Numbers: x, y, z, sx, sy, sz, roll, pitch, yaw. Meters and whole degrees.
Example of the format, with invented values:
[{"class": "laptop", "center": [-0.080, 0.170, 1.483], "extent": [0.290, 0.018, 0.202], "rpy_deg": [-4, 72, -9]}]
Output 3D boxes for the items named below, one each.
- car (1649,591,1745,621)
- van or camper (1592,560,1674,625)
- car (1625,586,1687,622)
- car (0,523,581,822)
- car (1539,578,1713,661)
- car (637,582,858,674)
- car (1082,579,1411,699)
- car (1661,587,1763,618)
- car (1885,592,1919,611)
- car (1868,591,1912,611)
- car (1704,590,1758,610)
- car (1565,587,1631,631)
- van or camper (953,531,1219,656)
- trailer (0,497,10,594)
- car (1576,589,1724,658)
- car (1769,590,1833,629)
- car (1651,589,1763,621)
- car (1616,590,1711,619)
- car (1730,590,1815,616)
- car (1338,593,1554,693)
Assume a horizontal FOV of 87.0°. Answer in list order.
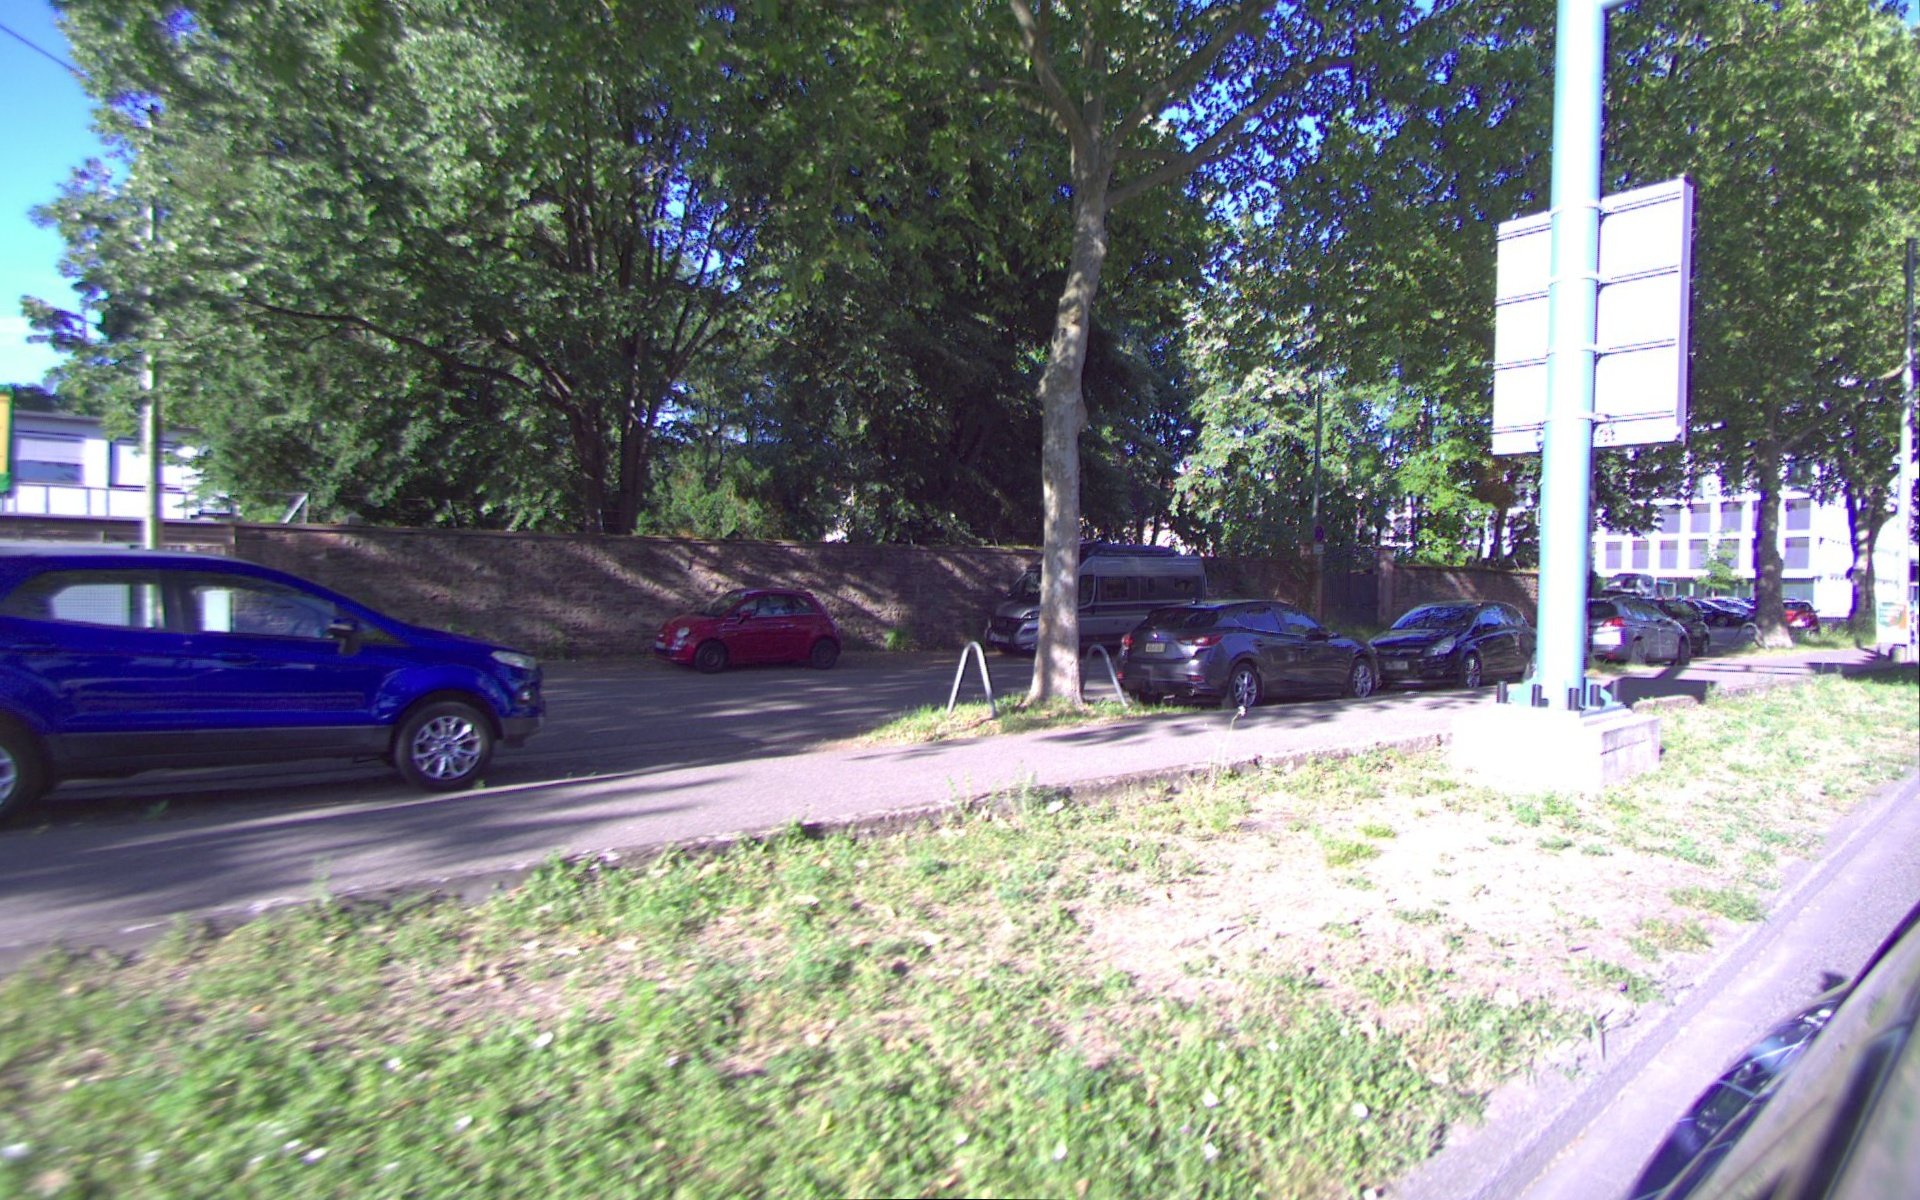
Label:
[{"class": "car", "center": [40.956, 0.318, 56.348], "extent": [1.590, 1.409, 4.000], "rpy_deg": [0, 3, -37]}, {"class": "van or camper", "center": [31.036, -0.369, 46.609], "extent": [4.882, 2.764, 1.996], "rpy_deg": [-1, 4, -44]}, {"class": "car", "center": [34.689, 0.161, 50.427], "extent": [1.994, 1.593, 3.940], "rpy_deg": [5, 4, 42]}, {"class": "car", "center": [-5.073, 0.393, 6.990], "extent": [4.275, 1.663, 1.740], "rpy_deg": [-1, 0, -39]}, {"class": "car", "center": [13.919, 0.372, 21.094], "extent": [3.946, 1.580, 1.797], "rpy_deg": [-1, -2, -38]}, {"class": "car", "center": [-3.943, 0.451, 18.962], "extent": [3.686, 1.490, 1.697], "rpy_deg": [0, 3, -35]}, {"class": "car", "center": [4.042, 0.452, 13.948], "extent": [4.591, 1.399, 1.998], "rpy_deg": [0, -1, -37]}, {"class": "car", "center": [44.553, 0.117, 60.041], "extent": [1.963, 1.427, 4.396], "rpy_deg": [0, 5, -37]}, {"class": "car", "center": [84.002, 0.106, 90.119], "extent": [4.197, 1.504, 1.869], "rpy_deg": [-1, 4, -40]}, {"class": "car", "center": [80.015, 0.086, 87.074], "extent": [4.322, 1.504, 2.000], "rpy_deg": [-1, 4, -38]}, {"class": "car", "center": [61.456, 0.001, 80.680], "extent": [3.800, 1.555, 1.755], "rpy_deg": [-1, 0, -22]}, {"class": "car", "center": [27.062, 0.328, 42.904], "extent": [1.837, 1.637, 3.944], "rpy_deg": [6, 4, 38]}, {"class": "van or camper", "center": [3.224, -0.184, 24.999], "extent": [6.441, 2.717, 2.566], "rpy_deg": [0, 3, -36]}, {"class": "trailer", "center": [-35.097, -2.040, 34.539], "extent": [2.181, 3.609, 8.760], "rpy_deg": [0, 0, -32]}, {"class": "car", "center": [18.210, 0.559, 26.643], "extent": [4.540, 1.655, 1.798], "rpy_deg": [-1, 0, -36]}, {"class": "car", "center": [37.737, 0.416, 45.510], "extent": [1.989, 1.660, 3.947], "rpy_deg": [-1, 0, 37]}, {"class": "car", "center": [42.672, 0.236, 57.892], "extent": [1.964, 1.423, 4.733], "rpy_deg": [0, 5, -40]}, {"class": "car", "center": [38.560, 0.220, 55.544], "extent": [1.736, 1.523, 3.992], "rpy_deg": [0, 1, -43]}, {"class": "car", "center": [53.574, 0.158, 66.818], "extent": [1.685, 1.486, 4.090], "rpy_deg": [-1, 3, -39]}, {"class": "car", "center": [8.185, 0.636, 16.932], "extent": [3.814, 1.456, 1.797], "rpy_deg": [-1, 0, -39]}]
